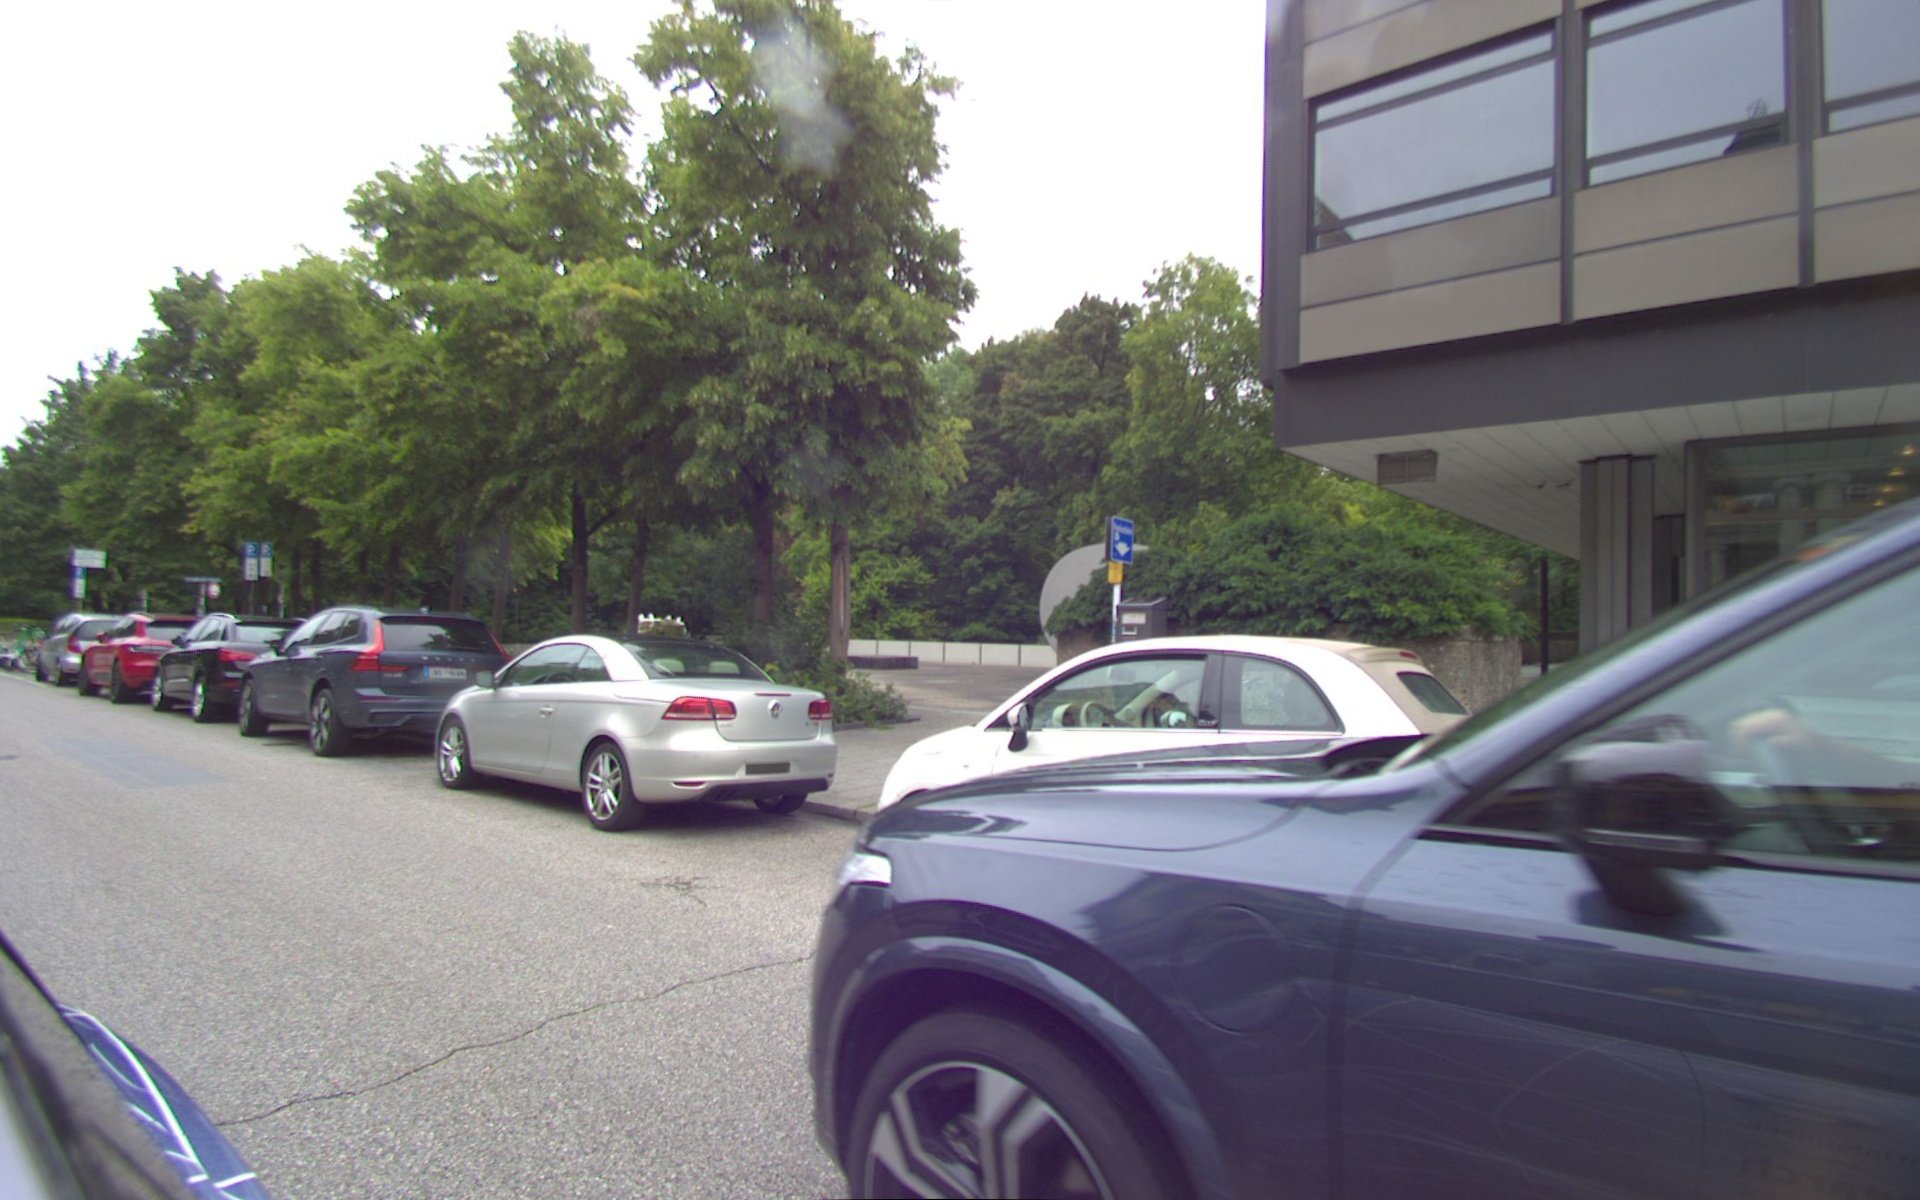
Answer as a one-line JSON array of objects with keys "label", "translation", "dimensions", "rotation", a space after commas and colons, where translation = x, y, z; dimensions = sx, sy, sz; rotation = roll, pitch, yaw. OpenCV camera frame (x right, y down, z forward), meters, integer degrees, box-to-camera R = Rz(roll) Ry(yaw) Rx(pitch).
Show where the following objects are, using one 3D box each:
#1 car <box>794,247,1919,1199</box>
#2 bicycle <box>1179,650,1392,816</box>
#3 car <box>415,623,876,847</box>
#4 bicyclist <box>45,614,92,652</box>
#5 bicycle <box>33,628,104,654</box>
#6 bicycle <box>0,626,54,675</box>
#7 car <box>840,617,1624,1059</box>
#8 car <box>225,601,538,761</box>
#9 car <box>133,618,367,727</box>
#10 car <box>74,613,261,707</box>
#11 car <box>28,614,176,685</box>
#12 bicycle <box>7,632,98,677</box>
[{"label": "car", "translation": [2.177, 0.558, 1.086], "dimensions": [4.909, 1.694, 1.940], "rotation": [-1, -4, 41]}, {"label": "bicycle", "translation": [2.636, 1.028, 8.271], "dimensions": [1.525, 1.173, 0.636], "rotation": [-1, 0, 39]}, {"label": "car", "translation": [-2.813, 0.961, 8.527], "dimensions": [4.216, 1.411, 1.739], "rotation": [-1, -5, 42]}, {"label": "bicyclist", "translation": [-38.815, 1.429, 44.066], "dimensions": [1.284, 1.557, 0.895], "rotation": [3, -1, -26]}, {"label": "bicycle", "translation": [-38.799, 1.793, 44.082], "dimensions": [2.130, 0.997, 0.790], "rotation": [3, -1, -26]}, {"label": "bicycle", "translation": [-25.444, 1.357, 27.588], "dimensions": [0.566, 1.292, 1.423], "rotation": [0, -1, -17]}, {"label": "car", "translation": [1.179, 0.865, 5.174], "dimensions": [3.550, 1.482, 1.528], "rotation": [-1, -4, 40]}, {"label": "car", "translation": [-7.191, 0.880, 12.372], "dimensions": [4.520, 1.595, 1.972], "rotation": [-1, -3, 42]}, {"label": "car", "translation": [-11.291, 1.049, 15.963], "dimensions": [4.645, 1.472, 1.972], "rotation": [-1, -3, 42]}, {"label": "car", "translation": [-14.935, 1.064, 19.000], "dimensions": [4.362, 1.555, 1.972], "rotation": [-1, -3, 42]}, {"label": "car", "translation": [-19.885, 1.107, 23.387], "dimensions": [4.362, 1.472, 1.972], "rotation": [-1, -3, 42]}, {"label": "bicycle", "translation": [-24.061, 1.426, 26.861], "dimensions": [0.597, 1.116, 1.682], "rotation": [0, -1, 32]}]
